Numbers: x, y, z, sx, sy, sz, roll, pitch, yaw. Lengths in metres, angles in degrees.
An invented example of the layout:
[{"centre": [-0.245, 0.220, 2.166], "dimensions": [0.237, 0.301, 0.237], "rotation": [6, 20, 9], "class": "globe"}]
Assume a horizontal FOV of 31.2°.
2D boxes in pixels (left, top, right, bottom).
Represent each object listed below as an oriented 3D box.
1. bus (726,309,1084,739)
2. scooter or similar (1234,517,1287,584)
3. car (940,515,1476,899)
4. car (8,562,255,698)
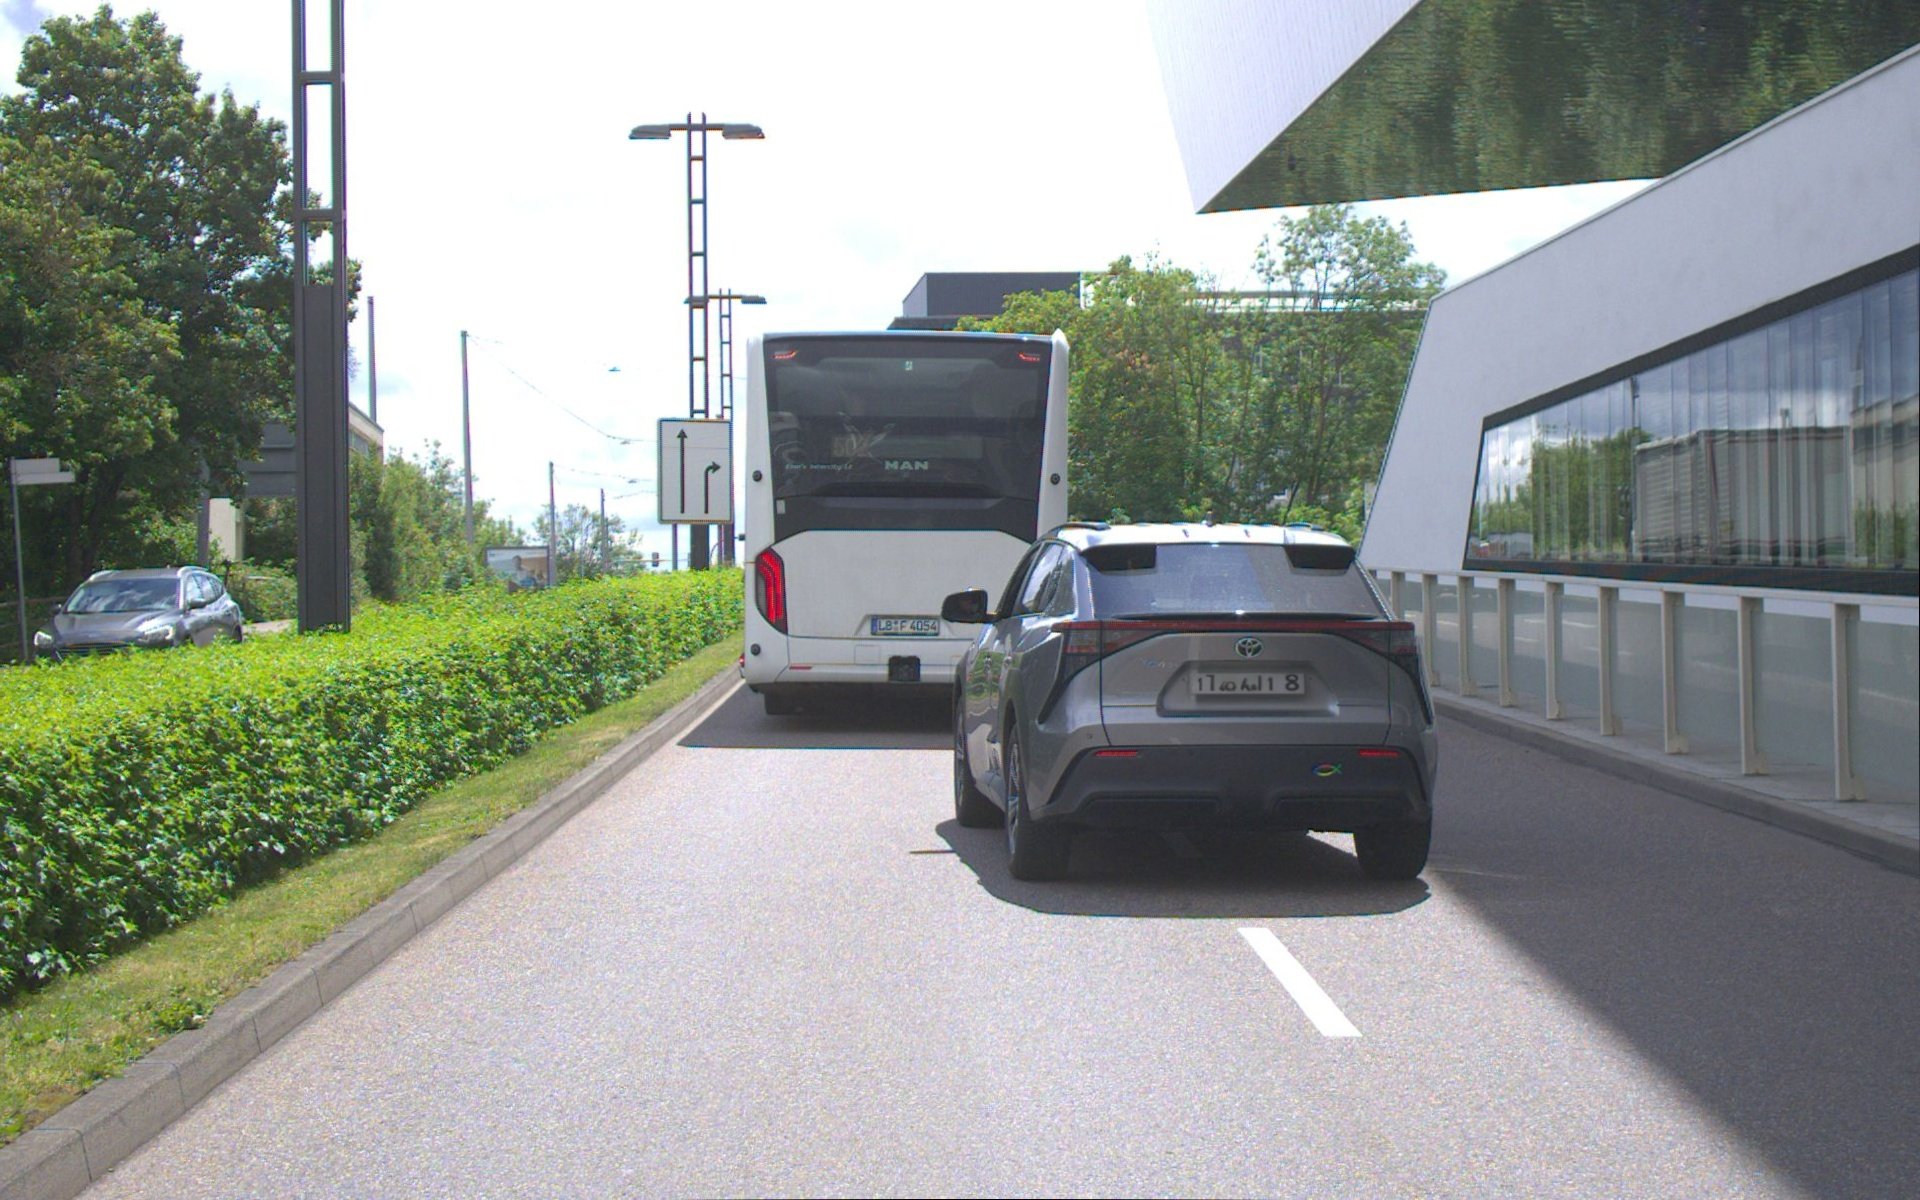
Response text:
[{"centre": [-0.468, -0.750, 32.289], "dimensions": [2.689, 3.244, 12.058], "rotation": [1, 2, 0], "class": "bus"}, {"centre": [5.567, -0.914, 63.761], "dimensions": [0.653, 1.210, 1.858], "rotation": [-2, 0, -4], "class": "scooter or similar"}, {"centre": [1.029, 0.434, 16.453], "dimensions": [1.879, 1.588, 4.230], "rotation": [1, 0, -5], "class": "car"}, {"centre": [-10.103, 0.323, 42.265], "dimensions": [1.840, 1.502, 4.561], "rotation": [-1, 1, 1], "class": "car"}]
